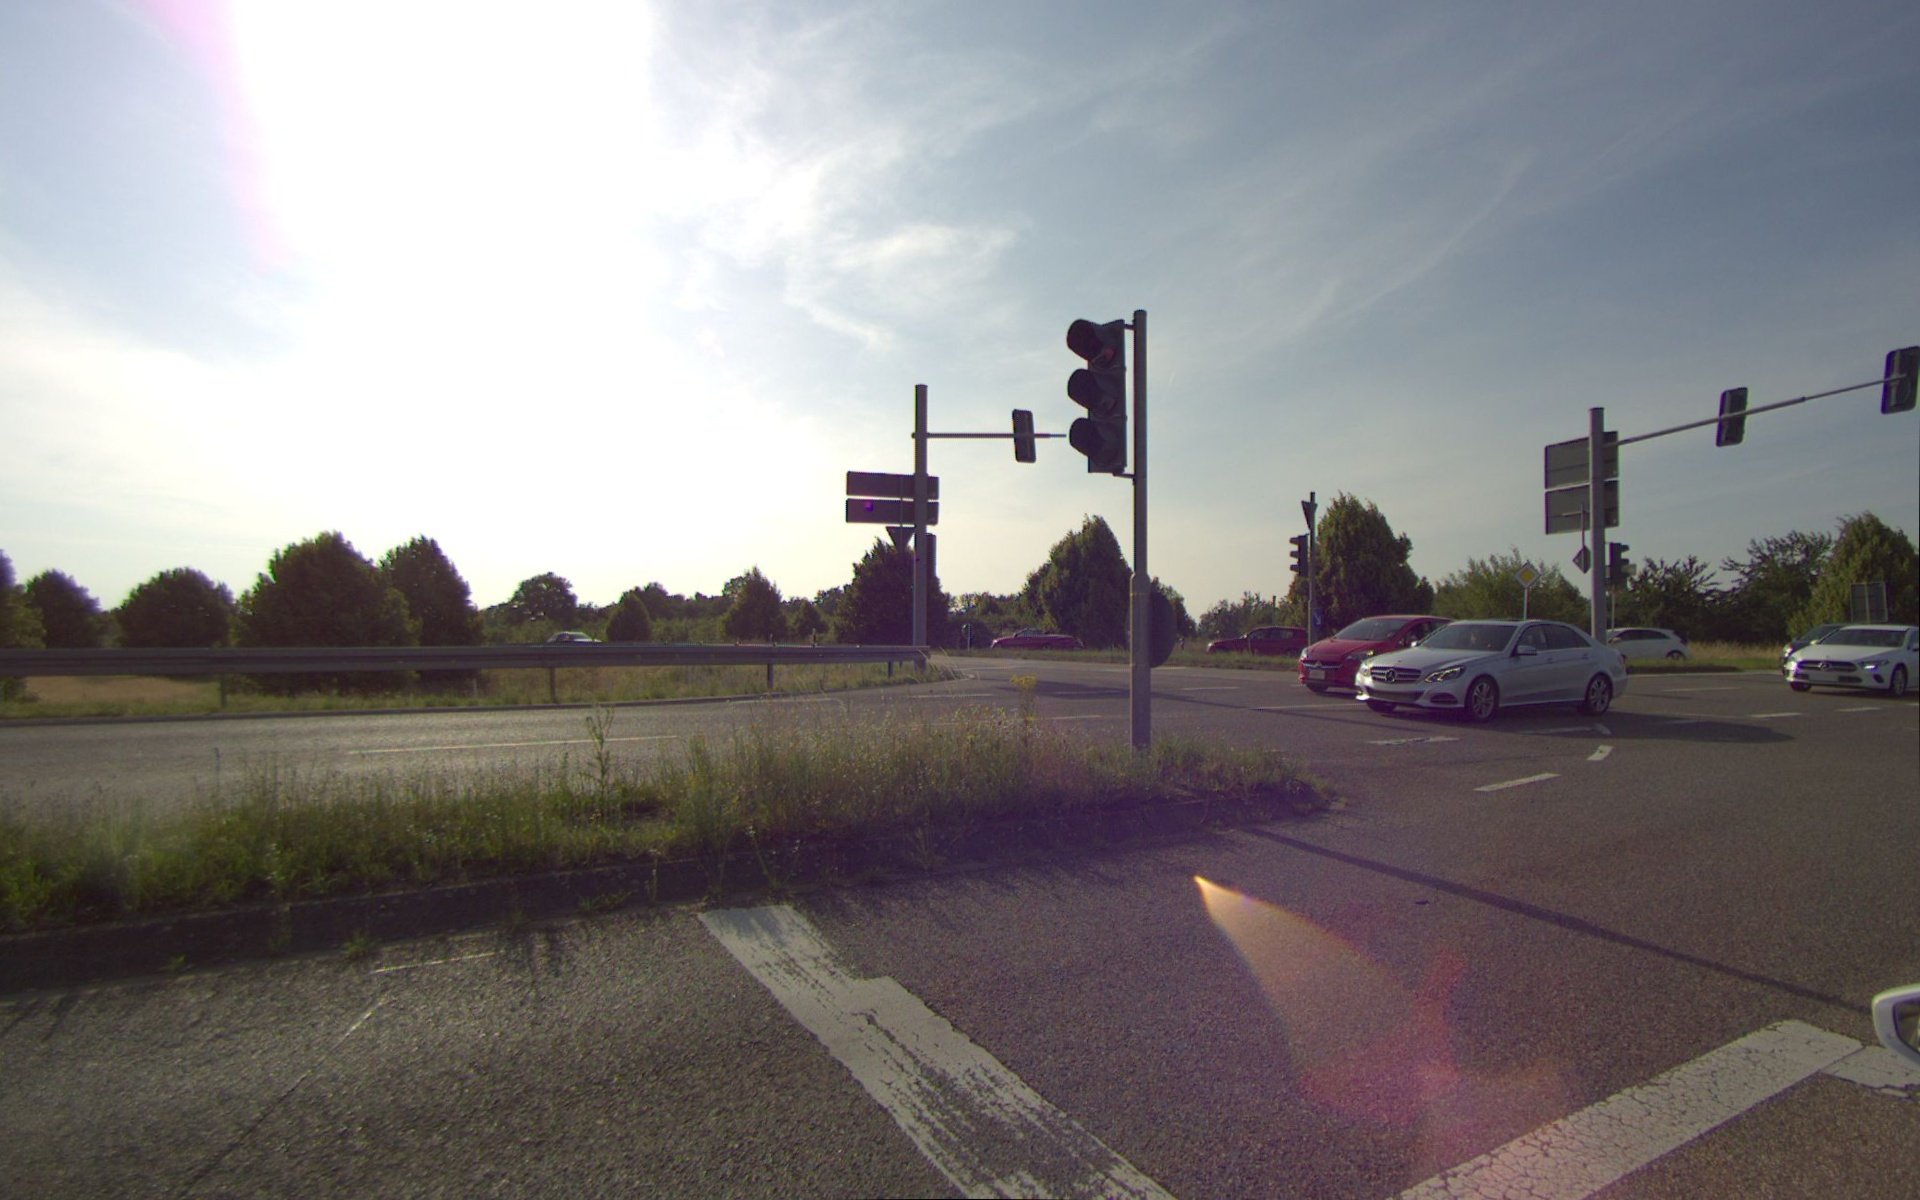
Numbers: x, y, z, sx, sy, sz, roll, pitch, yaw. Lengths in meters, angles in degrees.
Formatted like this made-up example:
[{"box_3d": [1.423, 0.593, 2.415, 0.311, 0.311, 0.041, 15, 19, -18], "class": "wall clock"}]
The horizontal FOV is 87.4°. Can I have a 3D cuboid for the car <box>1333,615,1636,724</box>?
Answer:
[{"box_3d": [8.121, 0.999, 15.465, 4.643, 1.454, 1.919, 1, -1, -29], "class": "car"}]

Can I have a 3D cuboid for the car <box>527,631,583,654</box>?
[{"box_3d": [-27.730, 2.894, 68.774, 3.939, 1.416, 1.951, 0, -1, 40], "class": "car"}]

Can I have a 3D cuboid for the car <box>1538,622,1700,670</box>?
[{"box_3d": [22.909, 1.572, 35.031, 4.359, 1.555, 1.953, 1, -1, 0], "class": "car"}]

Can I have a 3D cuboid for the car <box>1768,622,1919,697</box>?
[{"box_3d": [19.384, 1.218, 21.410, 4.337, 1.432, 1.724, 1, -1, -26], "class": "car"}]

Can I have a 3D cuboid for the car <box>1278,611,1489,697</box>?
[{"box_3d": [8.101, 0.992, 19.144, 3.975, 1.486, 1.652, 1, -1, -30], "class": "car"}]

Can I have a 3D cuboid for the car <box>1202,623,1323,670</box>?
[{"box_3d": [11.420, 1.719, 37.911, 4.056, 1.608, 1.923, 0, -1, 30], "class": "car"}]

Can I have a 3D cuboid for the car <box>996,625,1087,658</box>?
[{"box_3d": [3.627, 1.828, 45.235, 3.944, 1.372, 1.649, 0, -1, 43], "class": "car"}]
